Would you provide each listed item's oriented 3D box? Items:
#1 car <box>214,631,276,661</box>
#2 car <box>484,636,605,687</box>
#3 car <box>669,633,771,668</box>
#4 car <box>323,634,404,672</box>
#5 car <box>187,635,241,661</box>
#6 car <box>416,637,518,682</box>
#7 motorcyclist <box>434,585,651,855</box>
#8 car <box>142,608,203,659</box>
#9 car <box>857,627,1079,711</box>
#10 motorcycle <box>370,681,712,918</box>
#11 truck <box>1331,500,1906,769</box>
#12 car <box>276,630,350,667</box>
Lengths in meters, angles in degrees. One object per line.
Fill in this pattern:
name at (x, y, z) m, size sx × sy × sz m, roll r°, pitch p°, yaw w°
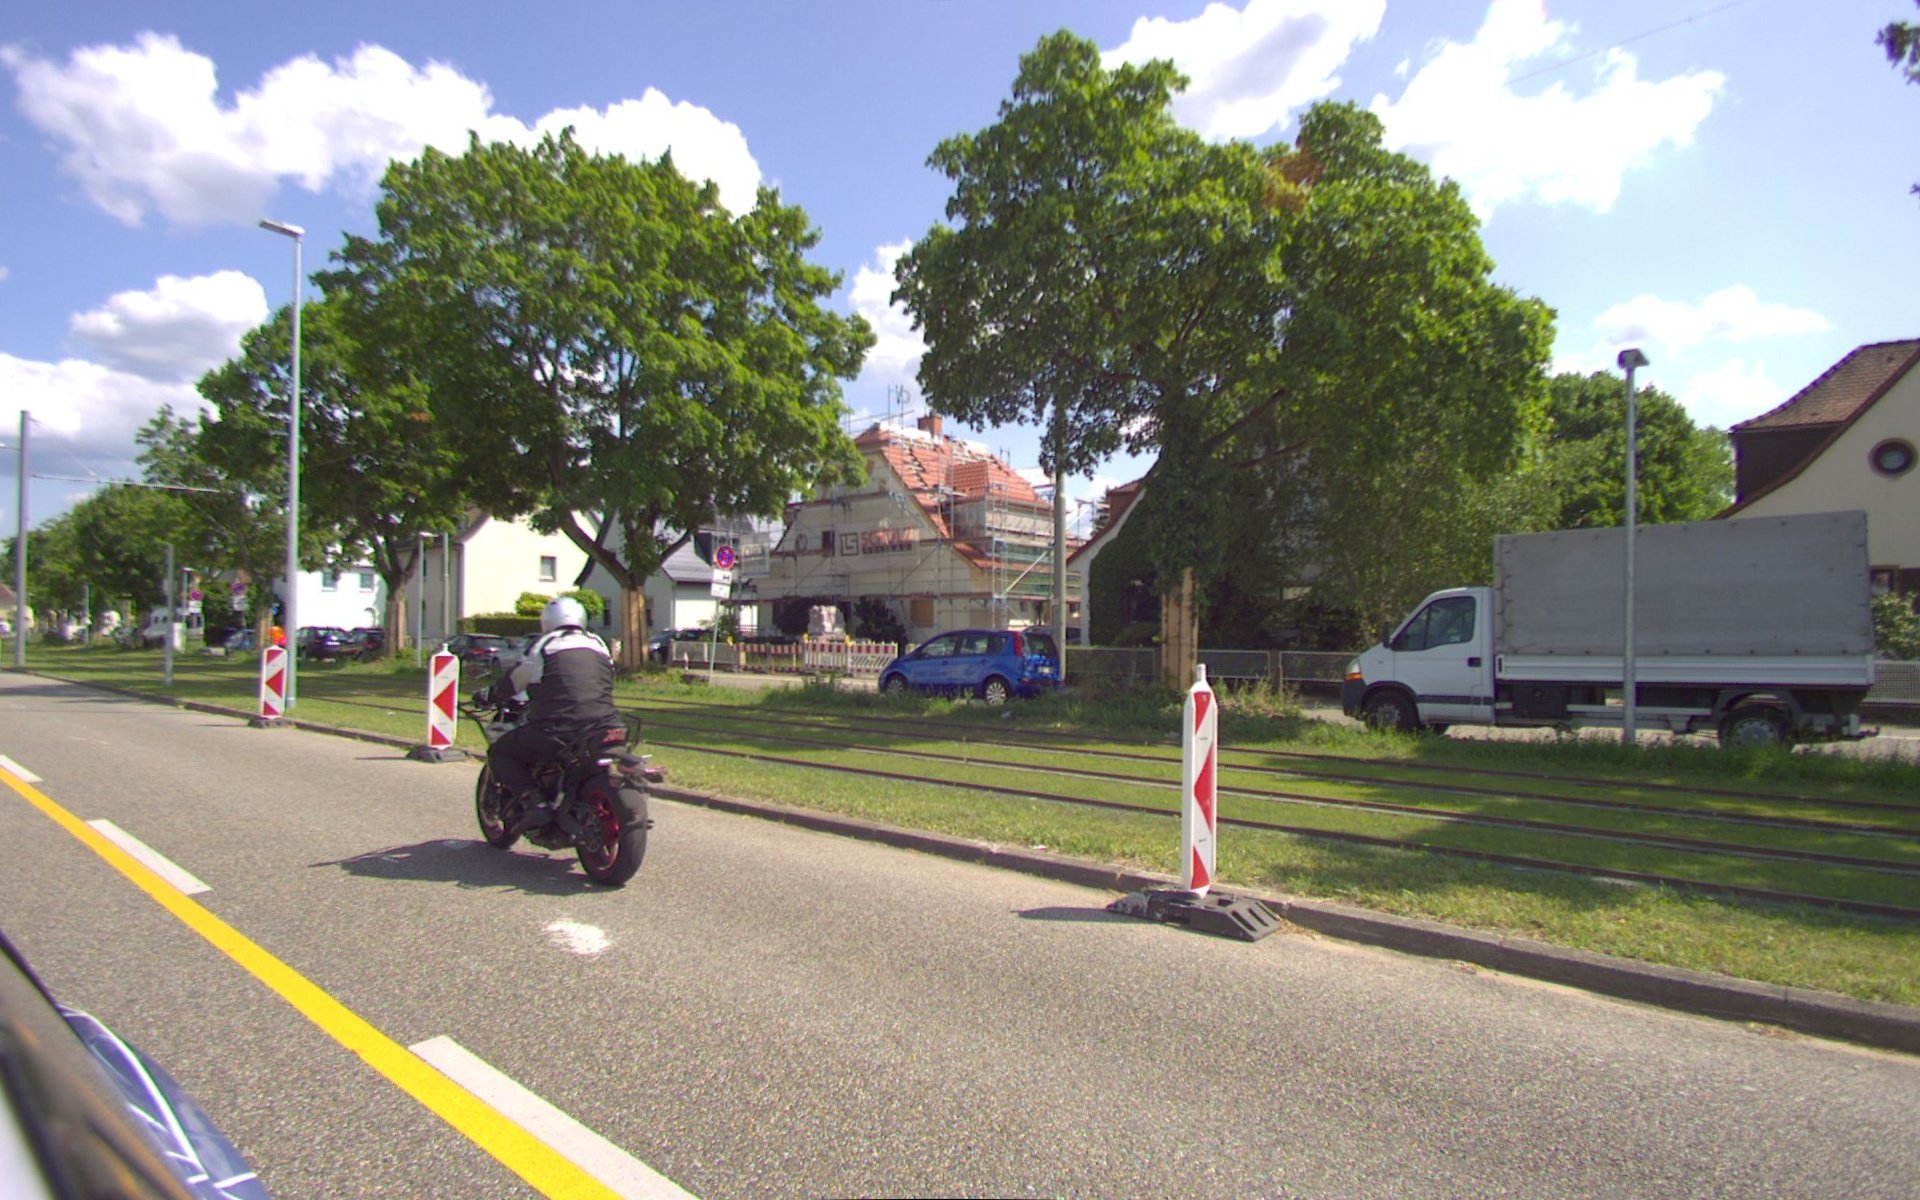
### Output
car at (-37.492, 2.424, 53.040) m, size 4.403 × 1.497 × 1.680 m, roll -3°, pitch -3°, yaw 41°
car at (-13.121, 1.929, 31.851) m, size 4.520 × 1.497 × 1.765 m, roll -4°, pitch -3°, yaw 42°
car at (-10.924, 2.288, 46.201) m, size 1.702 × 1.497 × 4.345 m, roll -3°, pitch -3°, yaw 41°
car at (-25.178, 2.249, 42.641) m, size 4.403 × 1.497 × 1.680 m, roll -3°, pitch -3°, yaw 41°
car at (-44.475, 2.871, 60.320) m, size 4.403 × 1.497 × 1.680 m, roll -3°, pitch -3°, yaw 41°
car at (-17.518, 2.115, 35.884) m, size 4.403 × 1.497 × 1.680 m, roll -3°, pitch -3°, yaw 41°
motorcyclist at (-2.384, 0.635, 5.812) m, size 0.799 × 1.388 × 0.860 m, roll -2°, pitch -3°, yaw 38°
car at (-49.514, 2.157, 63.596) m, size 5.080 × 3.061 × 2.108 m, roll -3°, pitch -3°, yaw 41°
car at (0.062, 1.348, 20.263) m, size 4.403 × 1.497 × 1.680 m, roll -3°, pitch -3°, yaw 41°
motorcycle at (-2.498, 1.037, 5.892) m, size 2.242 × 1.029 × 0.860 m, roll -2°, pitch -3°, yaw 39°
truck at (8.302, 0.451, 13.394) m, size 5.971 × 2.802 × 2.242 m, roll -2°, pitch -3°, yaw 41°
car at (-29.492, 2.221, 46.064) m, size 4.403 × 1.584 × 1.680 m, roll -3°, pitch -3°, yaw 41°
